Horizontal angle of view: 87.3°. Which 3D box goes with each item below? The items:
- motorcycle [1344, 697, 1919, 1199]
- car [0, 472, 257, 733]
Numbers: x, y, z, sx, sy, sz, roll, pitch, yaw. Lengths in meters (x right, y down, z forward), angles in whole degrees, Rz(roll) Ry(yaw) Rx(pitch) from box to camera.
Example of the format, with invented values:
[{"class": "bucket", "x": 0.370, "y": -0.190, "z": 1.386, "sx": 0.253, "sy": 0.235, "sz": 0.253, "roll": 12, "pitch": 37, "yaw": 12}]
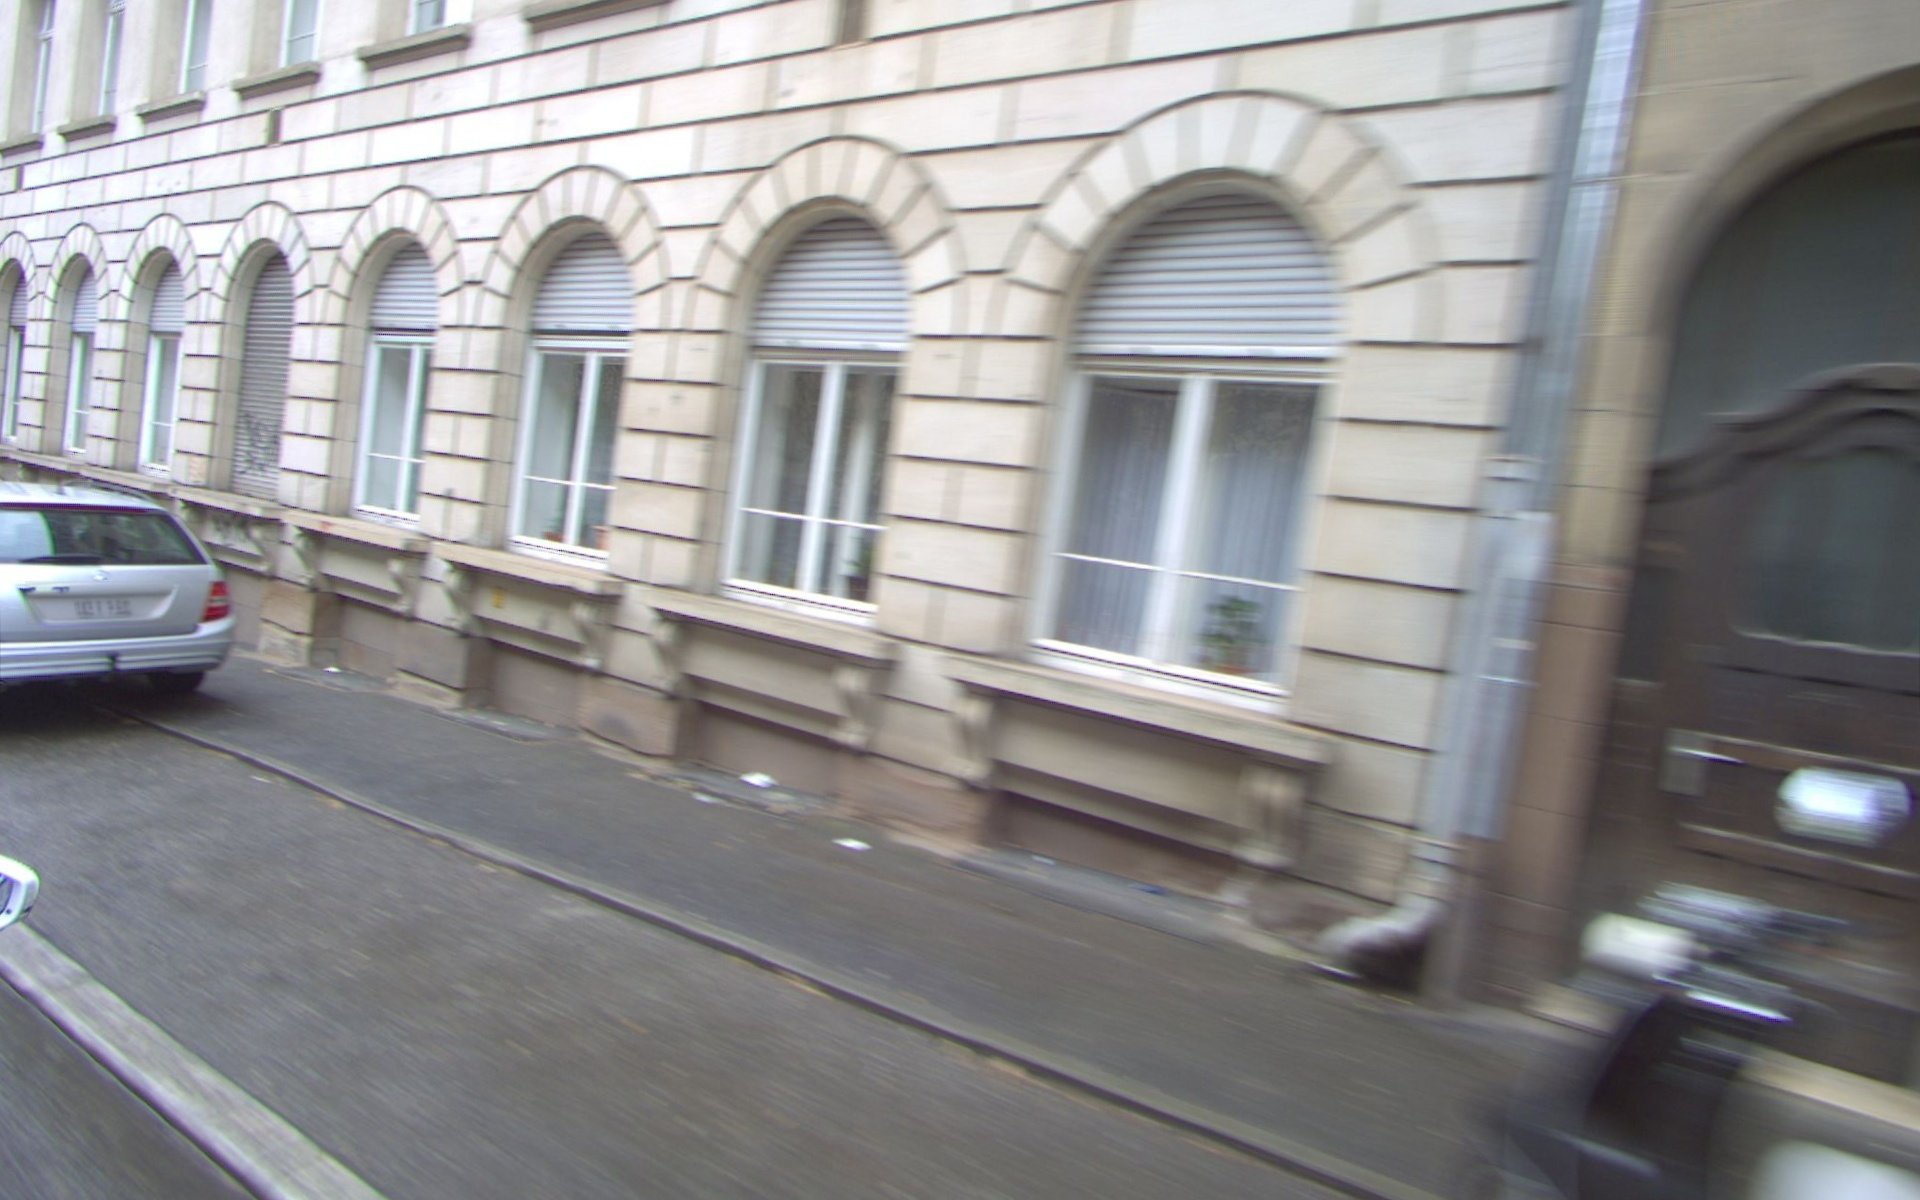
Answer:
[{"class": "motorcycle", "x": 1.378, "y": 0.932, "z": 1.438, "sx": 0.646, "sy": 1.252, "sz": 1.935, "roll": 7, "pitch": 3, "yaw": -4}, {"class": "car", "x": -7.068, "y": -0.189, "z": 7.166, "sx": 4.347, "sy": 1.451, "sz": 1.695, "roll": 7, "pitch": 3, "yaw": 30}]
